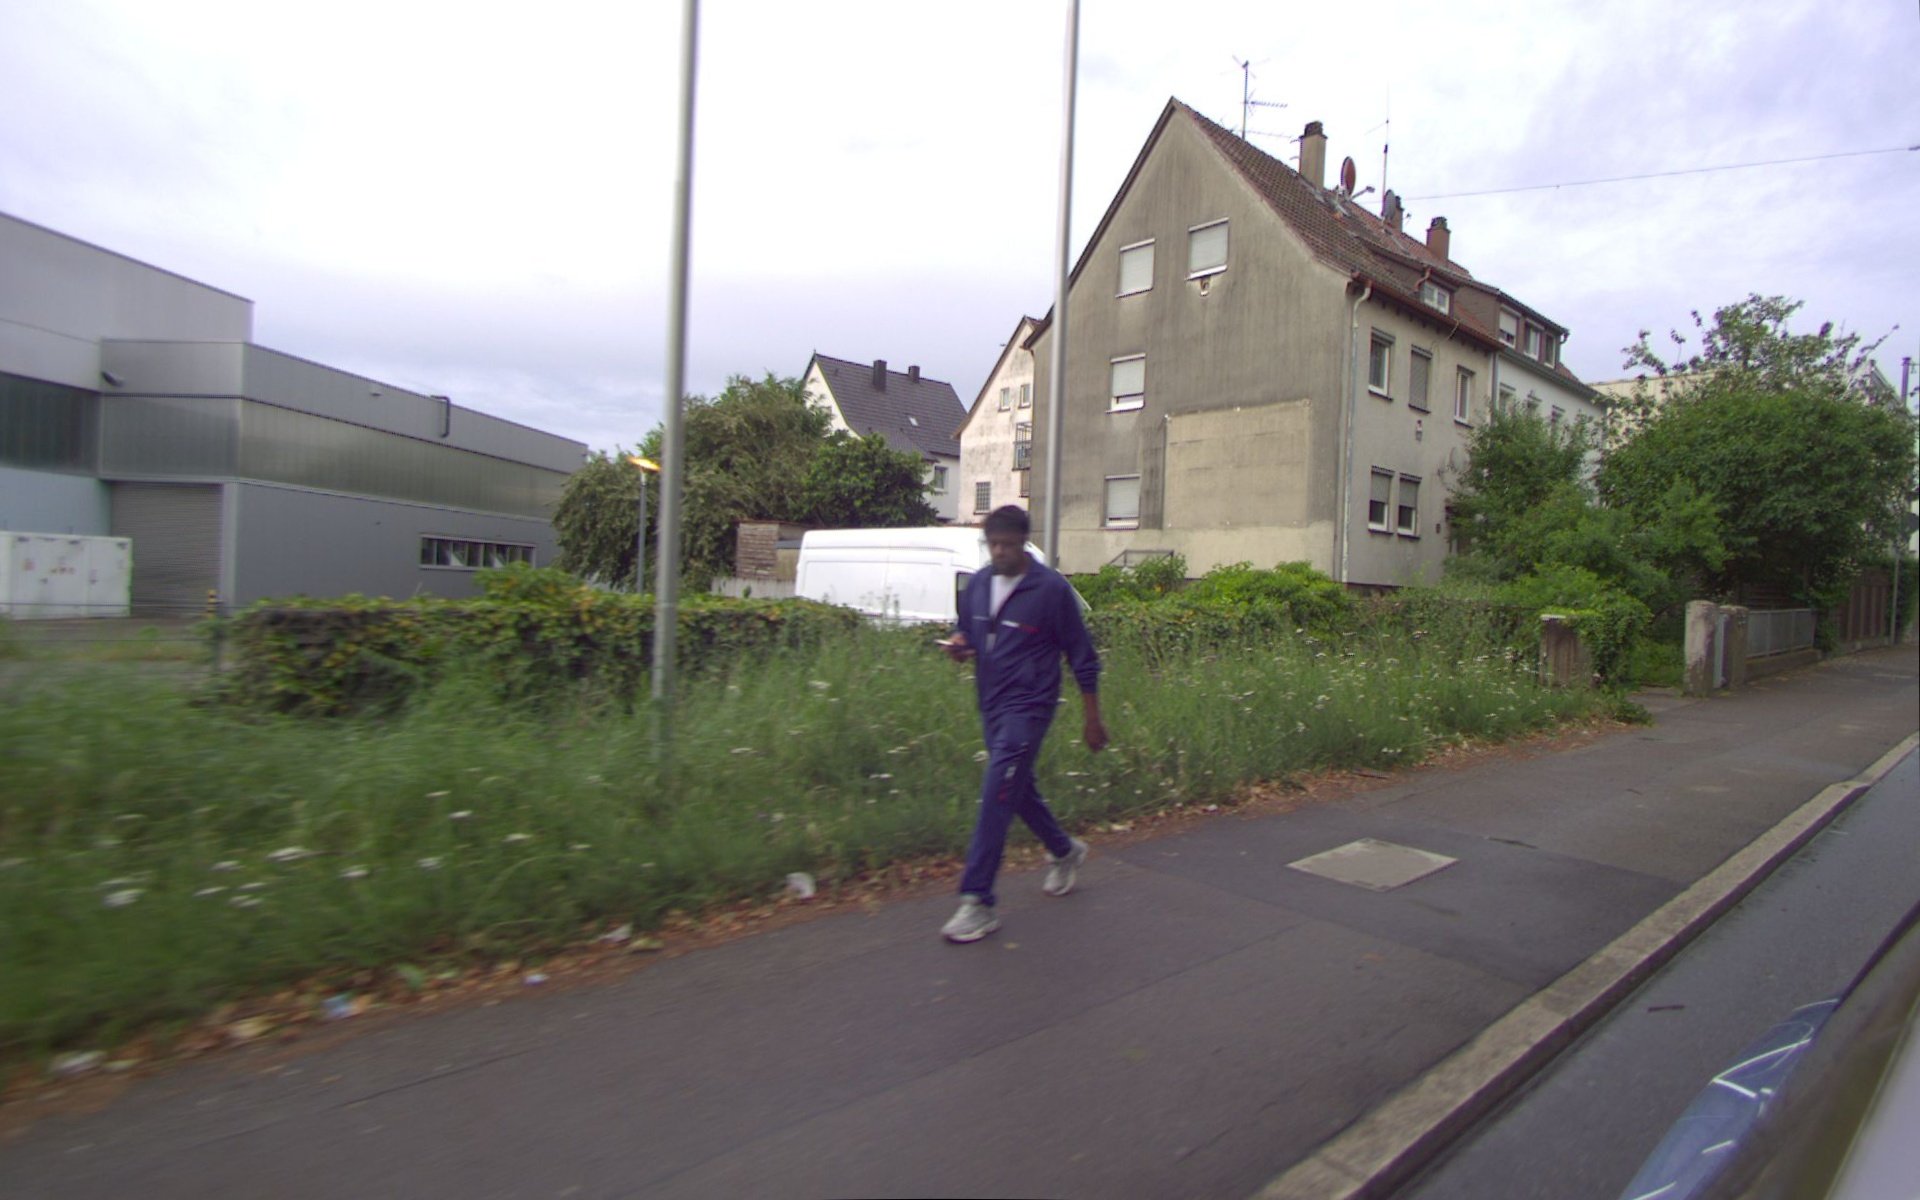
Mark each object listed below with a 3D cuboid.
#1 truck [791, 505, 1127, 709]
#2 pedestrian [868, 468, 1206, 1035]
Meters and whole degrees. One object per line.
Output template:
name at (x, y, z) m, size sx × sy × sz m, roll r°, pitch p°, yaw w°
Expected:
truck at (-0.272, 0.074, 16.153) m, size 2.008 × 2.670 × 5.853 m, roll -1°, pitch 1°, yaw -41°
pedestrian at (0.290, 0.494, 4.104) m, size 0.885 × 1.920 × 1.045 m, roll -1°, pitch 2°, yaw -41°
